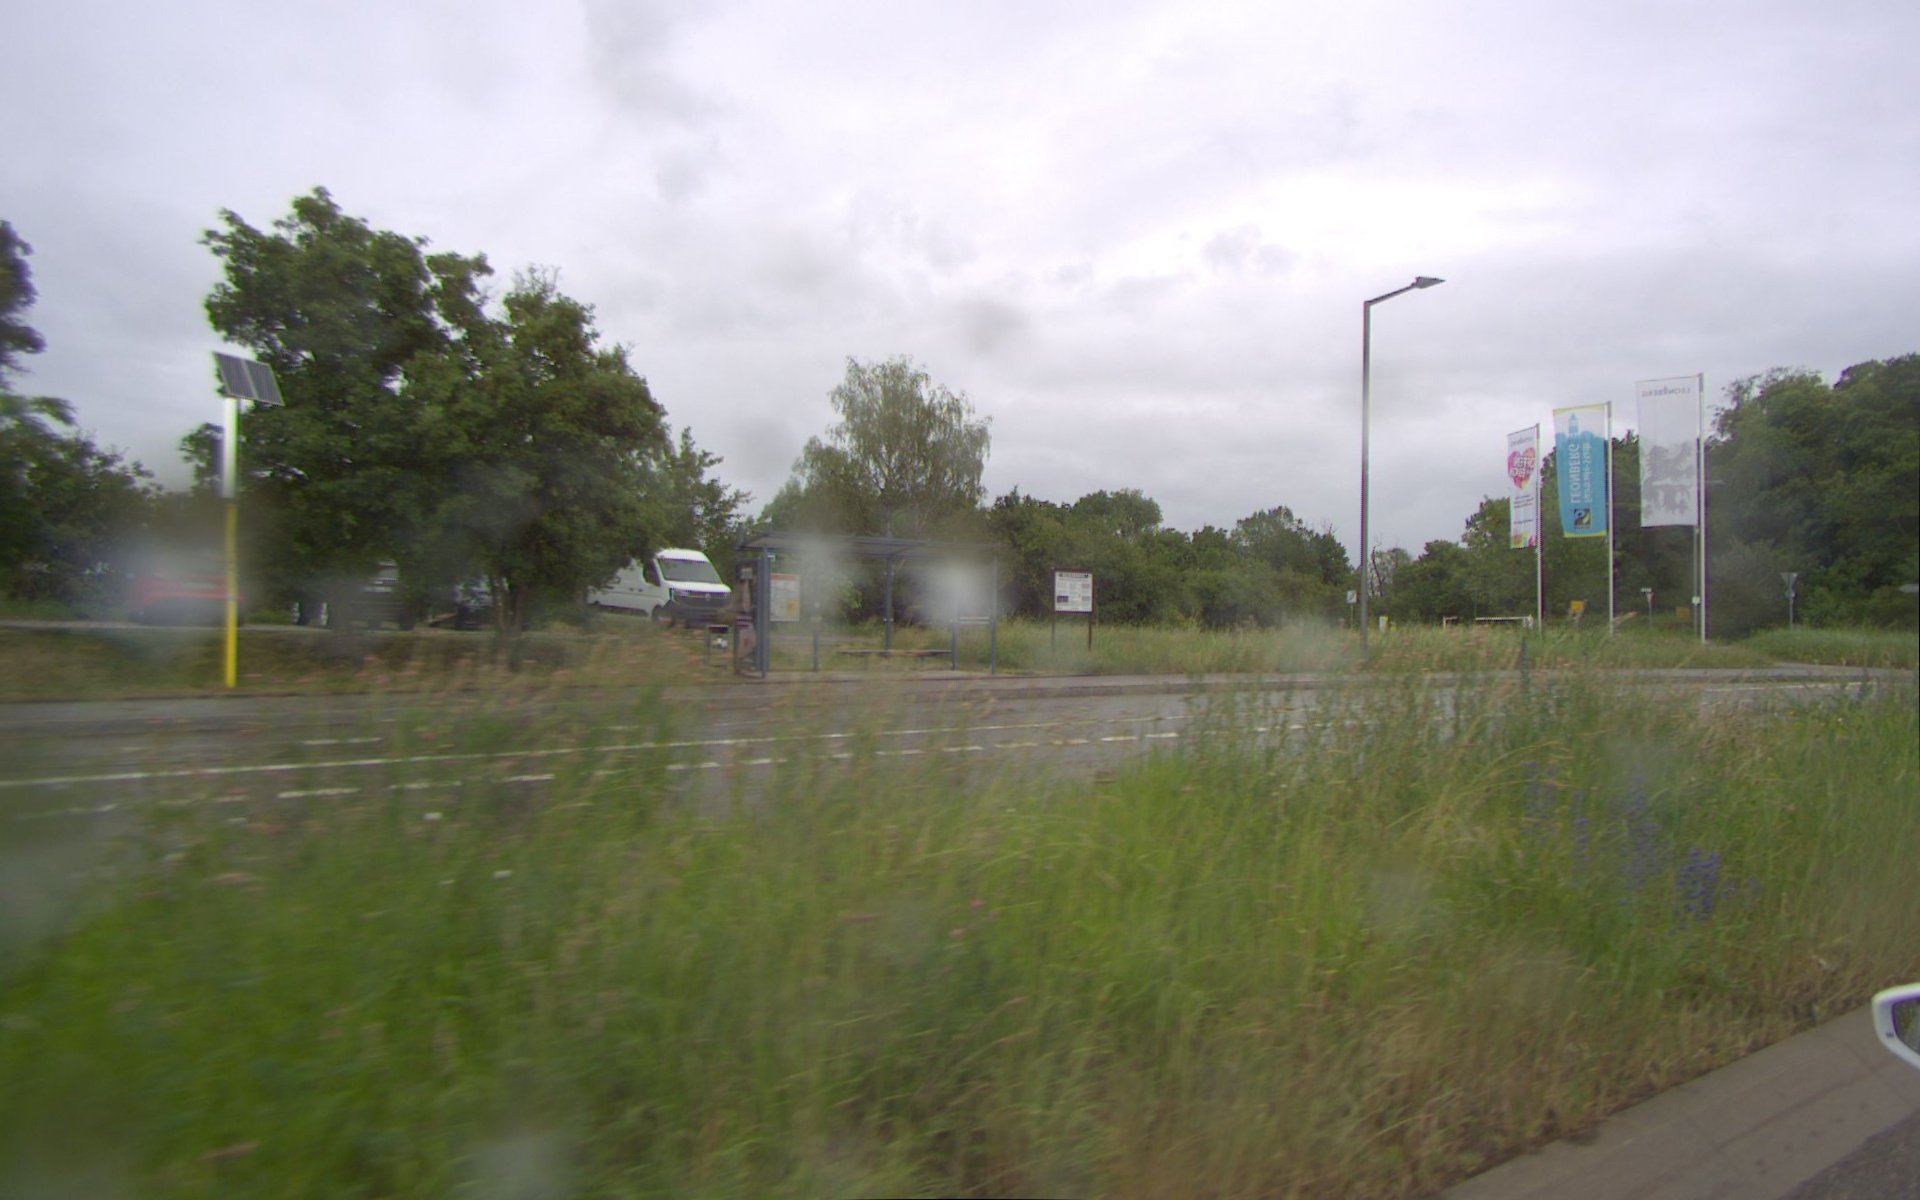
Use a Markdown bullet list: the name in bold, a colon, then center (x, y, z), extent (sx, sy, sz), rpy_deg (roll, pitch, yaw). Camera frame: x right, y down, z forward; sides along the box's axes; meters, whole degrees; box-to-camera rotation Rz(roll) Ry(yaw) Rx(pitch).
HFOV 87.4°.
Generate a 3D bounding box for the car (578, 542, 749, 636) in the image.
- **car**: center (-8.850, -0.309, 29.490), extent (2.124, 2.429, 6.495), rpy_deg (4, -2, -42)

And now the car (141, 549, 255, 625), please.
- **car**: center (-16.770, -0.225, 22.133), extent (1.831, 1.488, 3.957), rpy_deg (2, -2, -38)

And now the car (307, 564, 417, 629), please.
- **car**: center (-14.096, -0.034, 23.592), extent (1.830, 1.382, 3.959), rpy_deg (2, -2, -36)

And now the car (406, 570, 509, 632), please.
- **car**: center (-12.614, -0.009, 25.106), extent (1.637, 1.382, 3.958), rpy_deg (2, 1, -36)
